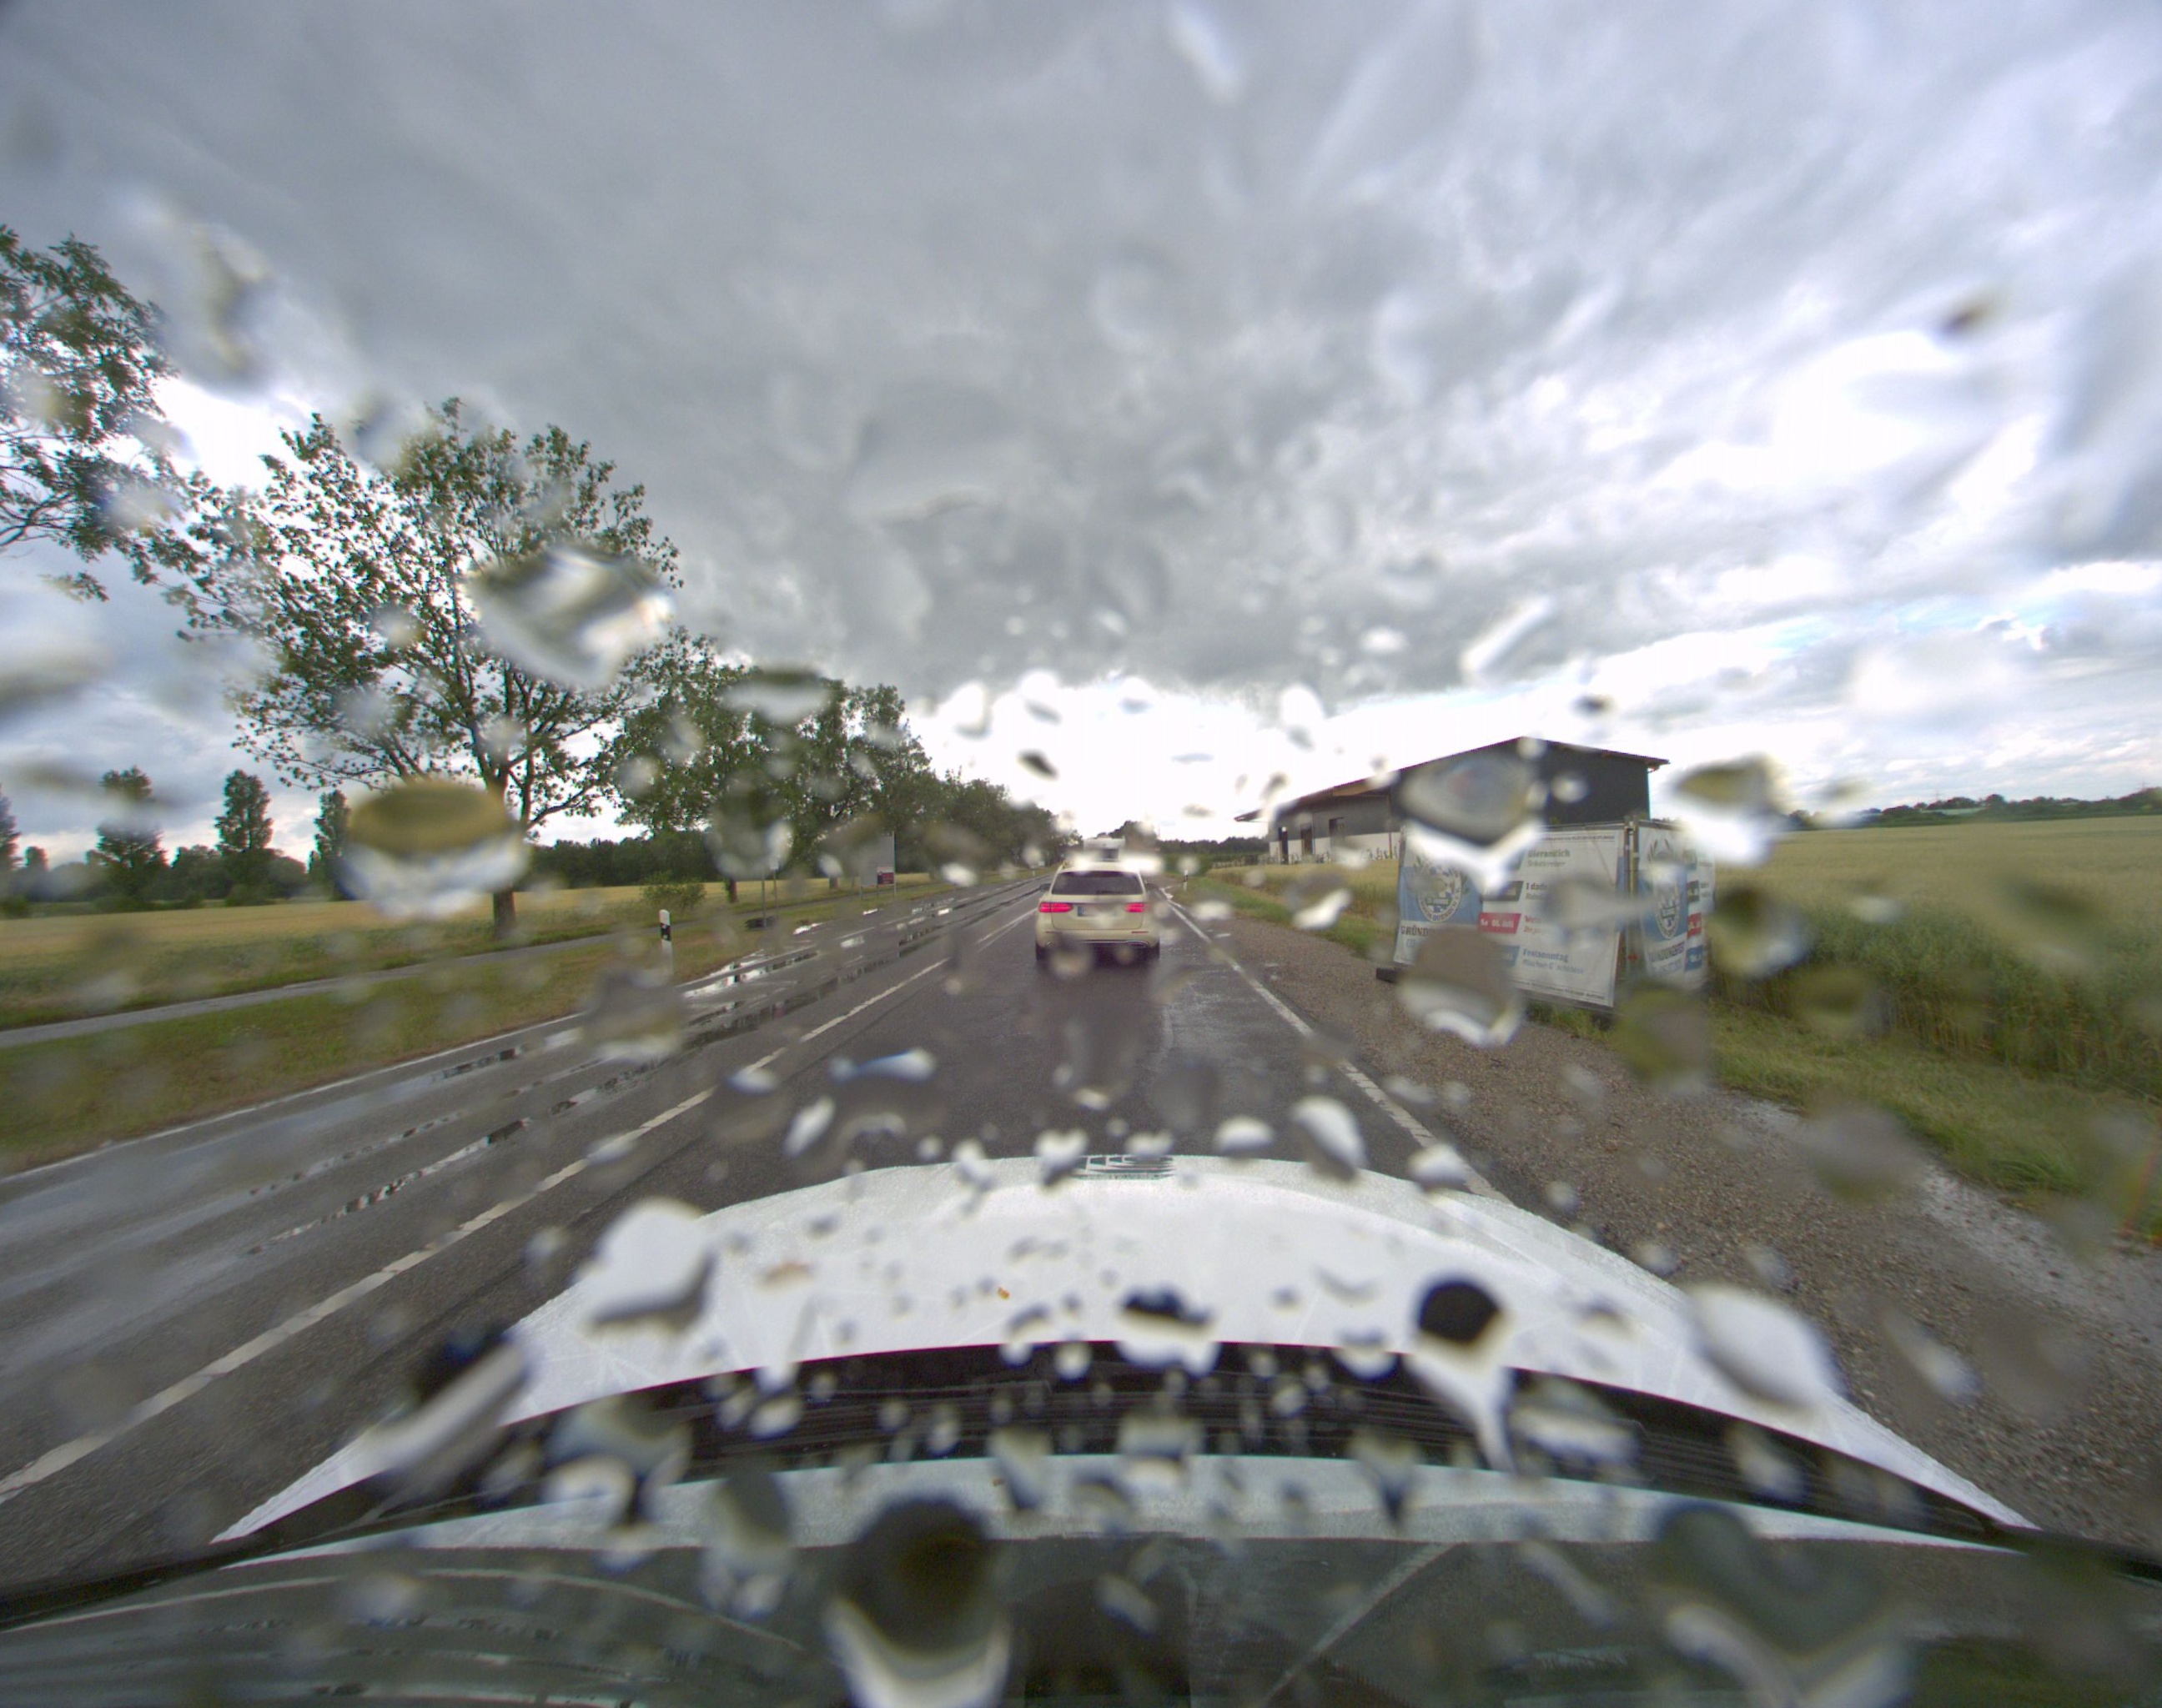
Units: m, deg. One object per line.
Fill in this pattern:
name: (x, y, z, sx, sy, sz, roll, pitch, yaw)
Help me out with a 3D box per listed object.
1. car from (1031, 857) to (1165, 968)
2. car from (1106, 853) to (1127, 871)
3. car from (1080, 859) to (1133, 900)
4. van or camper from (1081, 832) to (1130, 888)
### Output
car: (0.323, 0.805, 13.062, 1.790, 1.464, 4.033, -1, 0, 3)
car: (3.343, 0.729, 77.069, 1.887, 1.590, 3.930, -1, 0, 2)
car: (0.971, 0.940, 31.530, 1.887, 1.429, 3.929, -1, 0, 2)
van or camper: (1.476, 0.341, 46.460, 2.486, 2.831, 5.938, -3, -1, 3)
